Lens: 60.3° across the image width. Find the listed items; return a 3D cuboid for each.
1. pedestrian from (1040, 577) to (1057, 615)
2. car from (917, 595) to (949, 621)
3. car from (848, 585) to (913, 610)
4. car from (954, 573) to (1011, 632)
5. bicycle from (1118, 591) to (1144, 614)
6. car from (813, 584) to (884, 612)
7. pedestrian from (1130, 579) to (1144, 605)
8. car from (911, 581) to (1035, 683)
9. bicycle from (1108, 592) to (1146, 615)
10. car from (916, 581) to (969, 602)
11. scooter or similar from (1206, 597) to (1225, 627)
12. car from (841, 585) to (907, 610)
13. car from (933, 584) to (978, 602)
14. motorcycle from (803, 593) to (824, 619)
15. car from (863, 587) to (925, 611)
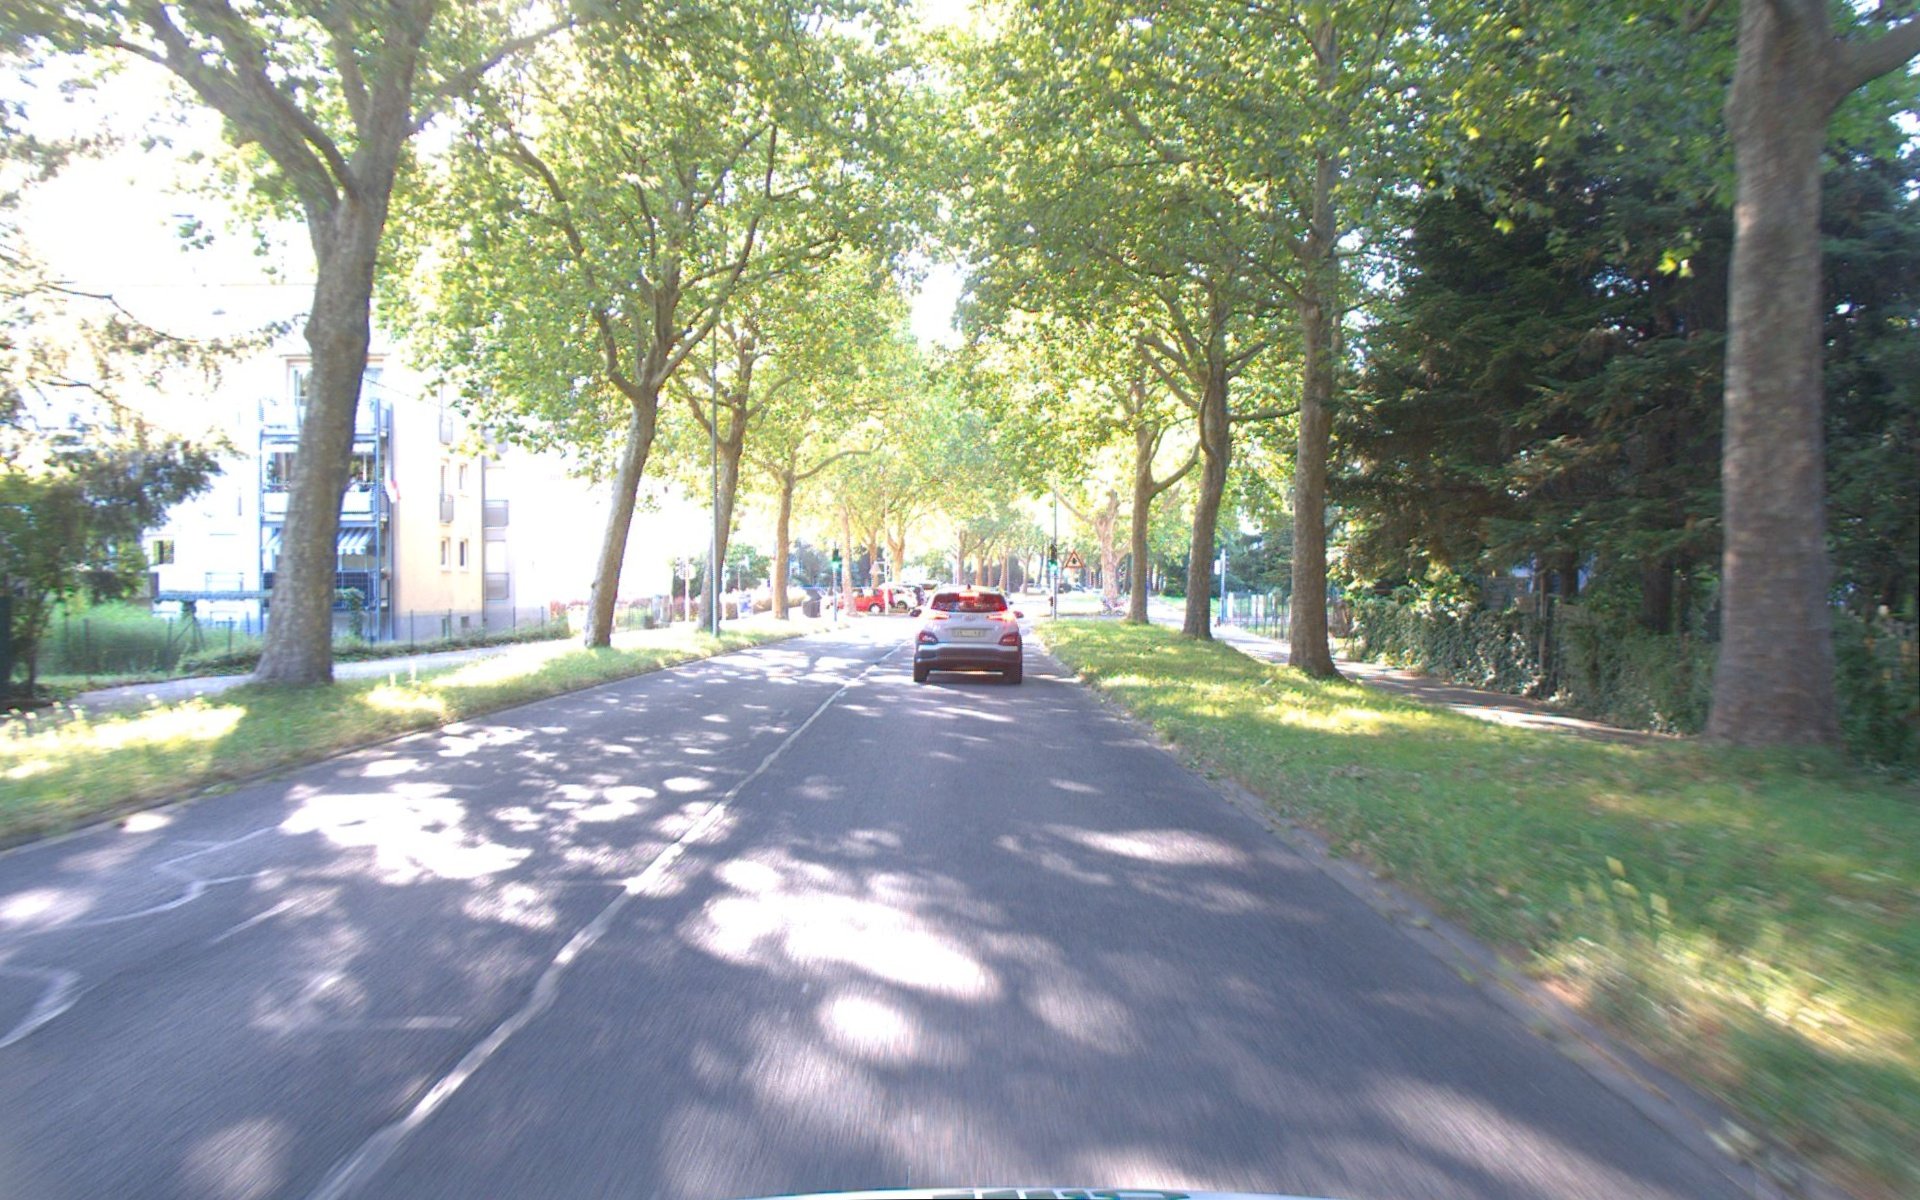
[{"bbox_3d":[4.822,-0.213,90.123,0.849,2.048,0.815,1,1,10],"label":"pedestrian"},{"bbox_3d":[-1.566,0.448,97.725,1.653,1.462,3.683,1,1,2],"label":"car"},{"bbox_3d":[-5.040,-0.136,105.402,3.903,1.504,2.001,1,0,4],"label":"car"},{"bbox_3d":[0.777,0.070,59.473,1.953,2.049,4.000,1,0,0],"label":"car"},{"bbox_3d":[9.252,0.148,89.438,0.594,1.204,2.108,1,0,-17],"label":"bicycle"},{"bbox_3d":[-6.427,-0.108,95.513,3.904,1.504,2.000,1,0,2],"label":"car"},{"bbox_3d":[14.034,-0.631,130.904,1.071,2.049,1.106,1,0,8],"label":"pedestrian"},{"bbox_3d":[0.238,0.510,28.327,1.952,1.602,4.000,1,0,1],"label":"car"},{"bbox_3d":[8.886,0.194,88.075,0.600,1.184,2.117,1,0,-41],"label":"bicycle"},{"bbox_3d":[-1.298,-0.634,124.975,3.904,1.504,2.000,1,0,2],"label":"car"},{"bbox_3d":[10.838,0.506,70.255,0.538,1.280,2.314,1,0,3],"label":"scooter or similar"},{"bbox_3d":[-5.335,-0.157,103.050,3.904,1.504,2.000,1,0,2],"label":"car"},{"bbox_3d":[-0.405,-0.602,148.782,3.904,1.504,2.000,1,0,2],"label":"car"},{"bbox_3d":[-8.018,0.310,90.834,0.828,1.403,2.777,1,0,1],"label":"motorcycle"},{"bbox_3d":[-4.356,-0.042,109.585,3.904,1.504,2.000,1,0,2],"label":"car"}]
